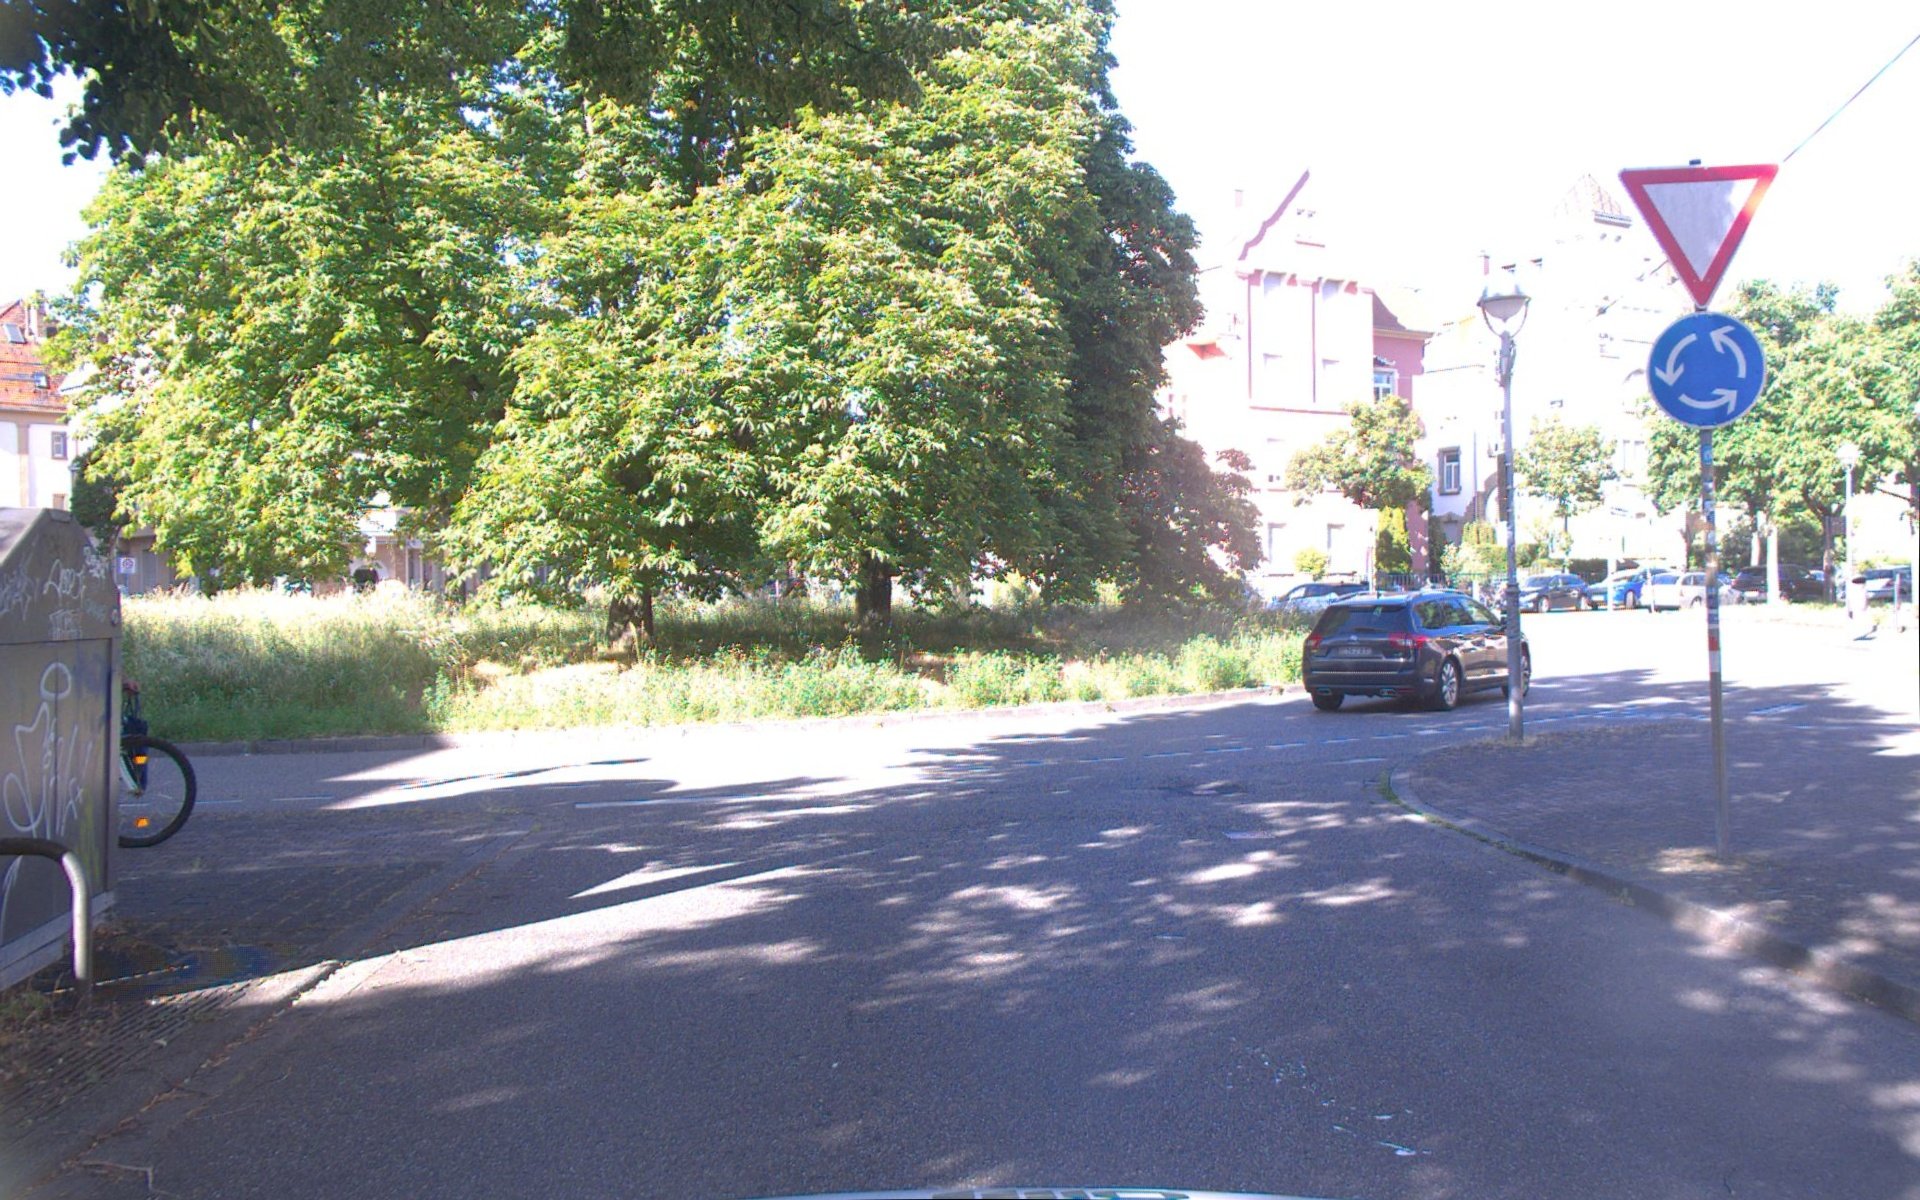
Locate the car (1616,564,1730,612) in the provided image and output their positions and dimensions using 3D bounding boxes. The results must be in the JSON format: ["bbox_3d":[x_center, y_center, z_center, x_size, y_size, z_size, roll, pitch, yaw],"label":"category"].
[{"bbox_3d":[23.969,-0.407,55.547,3.925,1.480,1.543,-2,1,-32],"label":"car"}]

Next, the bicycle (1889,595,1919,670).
[{"bbox_3d":[13.872,0.464,23.264,0.497,1.054,1.874,-1,0,-2],"label":"bicycle"}]

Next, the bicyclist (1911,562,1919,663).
[{"bbox_3d":[13.892,0.174,23.330,0.499,1.441,0.741,-1,0,-3],"label":"bicyclist"}]

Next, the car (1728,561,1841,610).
[{"bbox_3d":[26.364,-0.477,52.856,3.689,1.480,1.543,-2,1,-32],"label":"car"}]

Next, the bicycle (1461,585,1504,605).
[{"bbox_3d":[21.122,-0.215,66.859,0.613,0.799,2.279,-1,1,-12],"label":"bicycle"}]

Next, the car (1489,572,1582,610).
[{"bbox_3d":[22.243,-0.346,63.911,3.608,1.393,1.736,-2,1,-38],"label":"car"}]

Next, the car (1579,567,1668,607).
[{"bbox_3d":[26.662,-0.519,66.423,3.432,1.514,1.652,-2,1,-33],"label":"car"}]

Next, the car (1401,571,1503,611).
[{"bbox_3d":[18.064,-0.333,60.686,3.604,1.393,1.738,-2,1,-36],"label":"car"}]

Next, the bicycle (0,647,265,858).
[{"bbox_3d":[-5.314,0.907,10.016,1.925,1.164,0.663,-1,0,-13],"label":"bicycle"}]

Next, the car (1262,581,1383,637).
[{"bbox_3d":[10.791,0.262,49.411,1.538,1.579,3.610,-1,1,-29],"label":"car"}]

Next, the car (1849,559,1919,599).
[{"bbox_3d":[35.559,-0.802,62.804,3.409,1.461,1.644,-2,1,-30],"label":"car"}]

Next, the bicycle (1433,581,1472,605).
[{"bbox_3d":[19.642,-0.264,66.051,0.469,0.930,2.279,-1,1,-12],"label":"bicycle"}]

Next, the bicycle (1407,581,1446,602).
[{"bbox_3d":[18.446,-0.336,65.444,0.470,0.814,2.019,-1,1,-17],"label":"bicycle"}]

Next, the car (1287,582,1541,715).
[{"bbox_3d":[6.048,0.568,21.732,1.687,1.509,4.124,-1,1,39],"label":"car"}]

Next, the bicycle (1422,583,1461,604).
[{"bbox_3d":[19.067,-0.272,65.590,0.469,0.814,2.279,-1,1,-12],"label":"bicycle"}]

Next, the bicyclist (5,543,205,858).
[{"bbox_3d":[-5.170,0.576,10.059,0.870,1.815,0.796,-1,0,-14],"label":"bicyclist"}]

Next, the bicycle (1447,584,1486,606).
[{"bbox_3d":[20.392,-0.213,66.622,0.469,0.837,2.279,-1,1,-12],"label":"bicycle"}]
